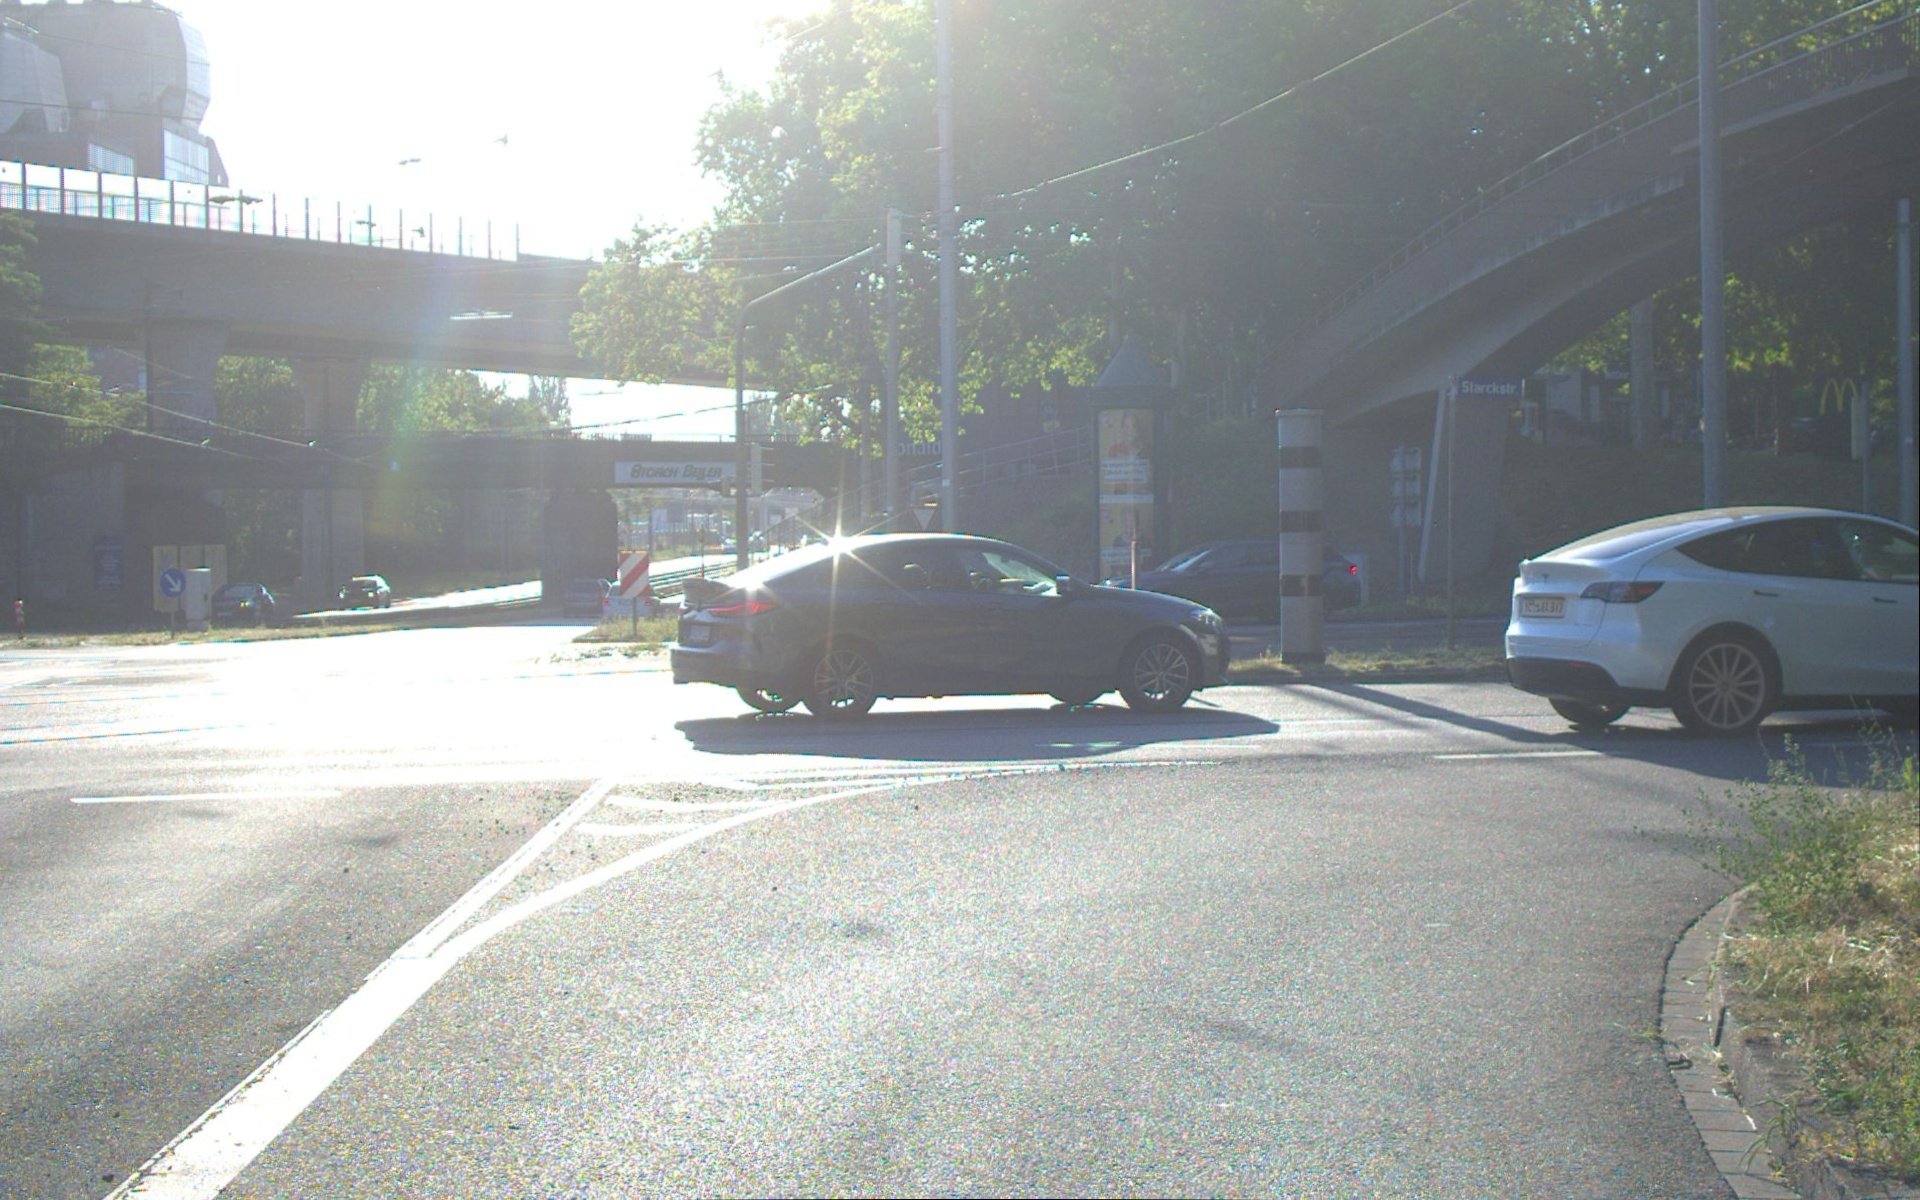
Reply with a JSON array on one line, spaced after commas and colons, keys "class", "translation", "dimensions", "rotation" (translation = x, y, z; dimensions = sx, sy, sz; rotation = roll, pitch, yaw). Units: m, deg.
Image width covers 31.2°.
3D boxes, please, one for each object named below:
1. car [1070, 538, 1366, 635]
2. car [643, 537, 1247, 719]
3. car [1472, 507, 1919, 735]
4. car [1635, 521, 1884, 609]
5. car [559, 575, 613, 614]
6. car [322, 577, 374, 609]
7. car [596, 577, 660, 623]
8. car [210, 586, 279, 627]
[{"class": "car", "translation": [4.279, -0.220, 57.043], "dimensions": [4.574, 1.569, 1.694], "rotation": [0, 1, -17]}, {"class": "car", "translation": [-0.120, 0.201, 27.255], "dimensions": [4.475, 1.364, 1.694], "rotation": [0, 1, -20]}, {"class": "car", "translation": [6.287, 0.136, 25.312], "dimensions": [4.750, 1.569, 1.694], "rotation": [0, 1, -21]}, {"class": "car", "translation": [14.167, -0.617, 60.970], "dimensions": [3.993, 1.507, 1.694], "rotation": [0, 1, -19]}, {"class": "car", "translation": [-14.177, -0.212, 130.556], "dimensions": [1.665, 1.400, 4.445], "rotation": [0, 1, -1]}, {"class": "car", "translation": [-28.157, -0.332, 158.236], "dimensions": [1.606, 1.414, 4.008], "rotation": [0, 1, 1]}, {"class": "car", "translation": [-10.565, -0.008, 109.616], "dimensions": [1.665, 1.400, 4.197], "rotation": [0, 1, -1]}, {"class": "car", "translation": [-25.942, 0.220, 124.749], "dimensions": [1.606, 1.414, 4.008], "rotation": [0, 1, 1]}]
